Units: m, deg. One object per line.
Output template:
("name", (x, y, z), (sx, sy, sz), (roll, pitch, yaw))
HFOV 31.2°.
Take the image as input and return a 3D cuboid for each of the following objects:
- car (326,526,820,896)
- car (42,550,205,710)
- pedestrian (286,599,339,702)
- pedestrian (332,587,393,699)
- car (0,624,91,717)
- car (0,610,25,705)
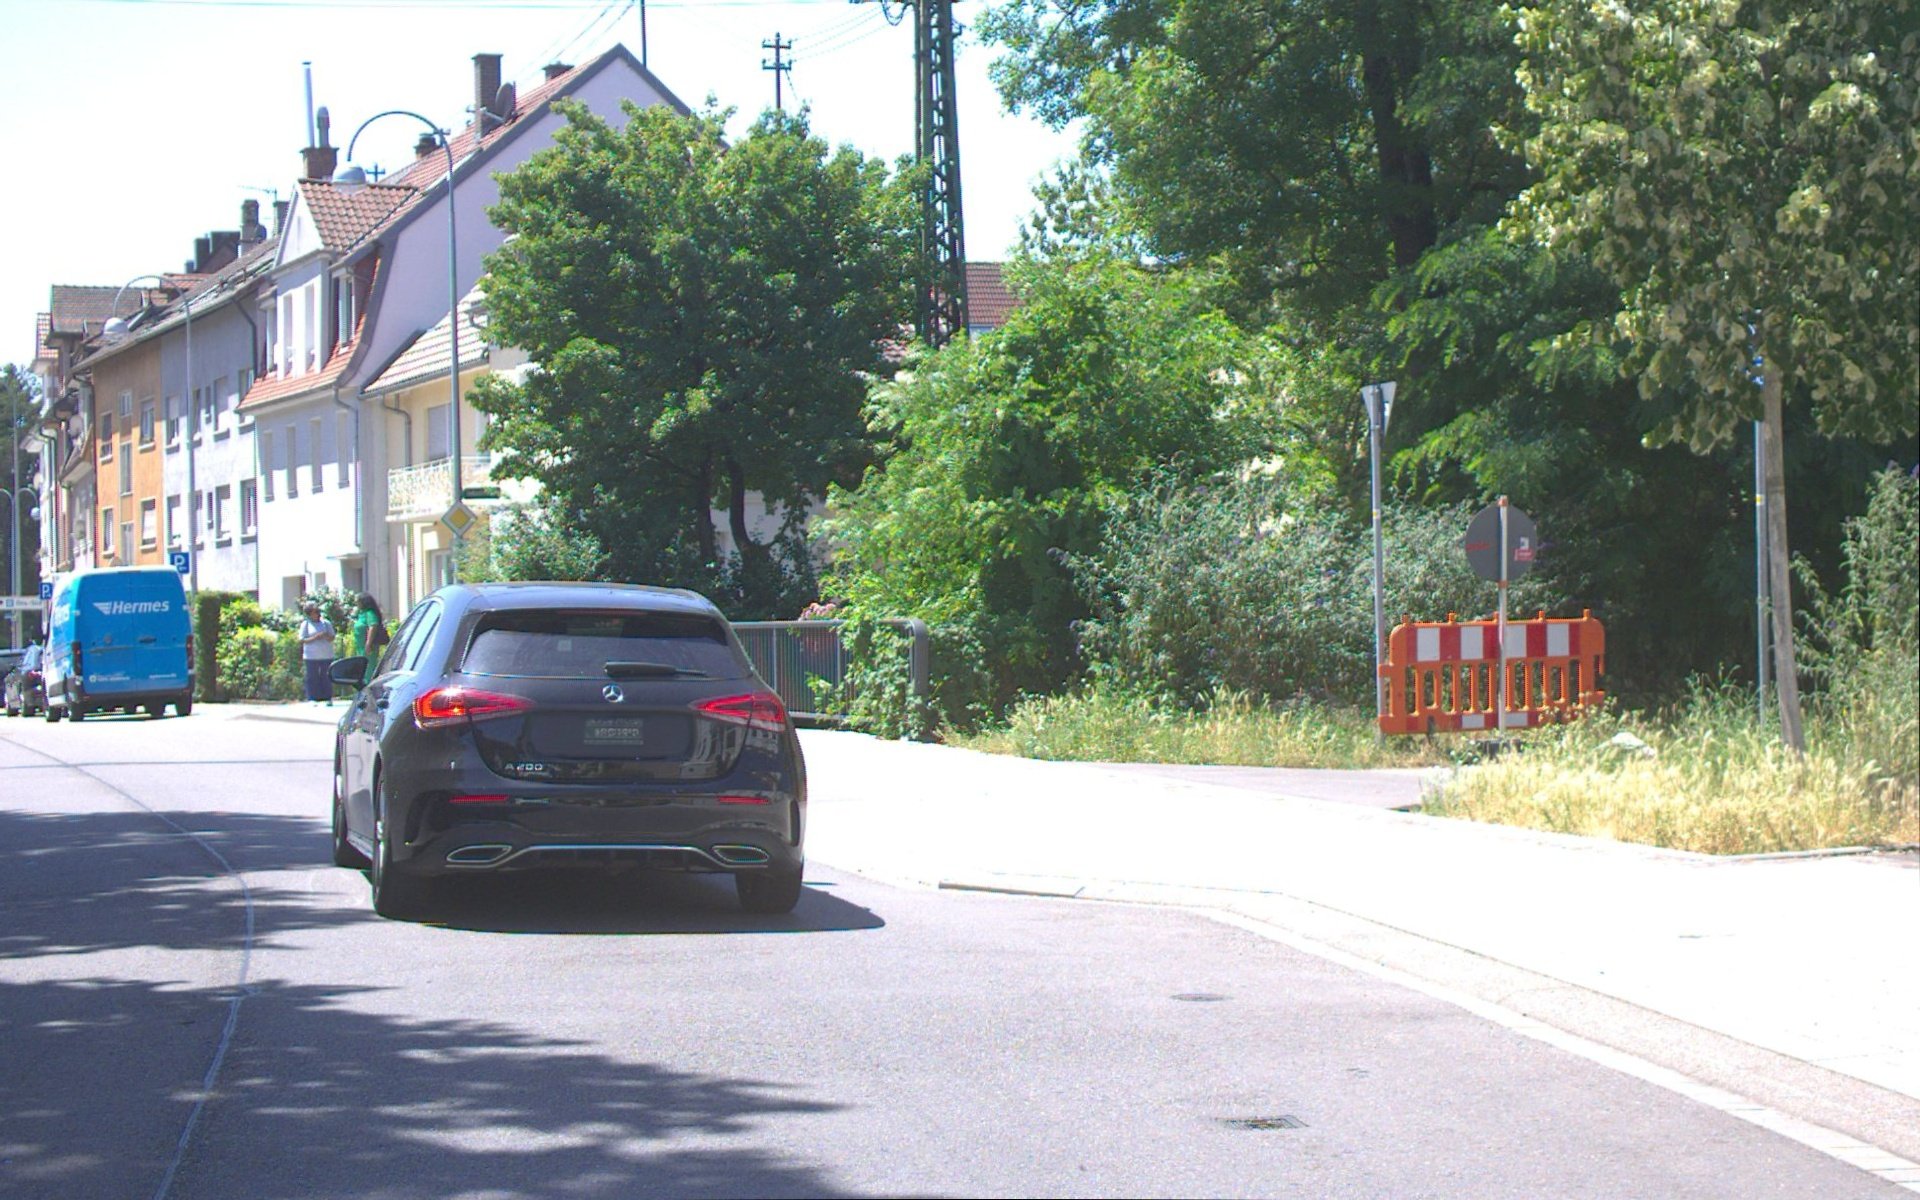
("car", (-1.898, 0.523, 15.720), (1.827, 1.437, 4.000), (-1, -2, -12))
("car", (-14.013, 0.497, 57.395), (2.132, 2.533, 4.650), (-1, -1, -20))
("pedestrian", (-10.275, 0.801, 54.571), (0.613, 1.607, 0.838), (-1, -1, -25))
("pedestrian", (-9.371, 0.670, 53.899), (0.660, 1.735, 0.702), (0, -1, -38))
("car", (-18.738, 1.390, 69.030), (1.993, 1.740, 4.330), (0, 0, -21))
("car", (-21.861, 1.245, 75.801), (1.993, 2.007, 4.001), (0, 0, -21))
